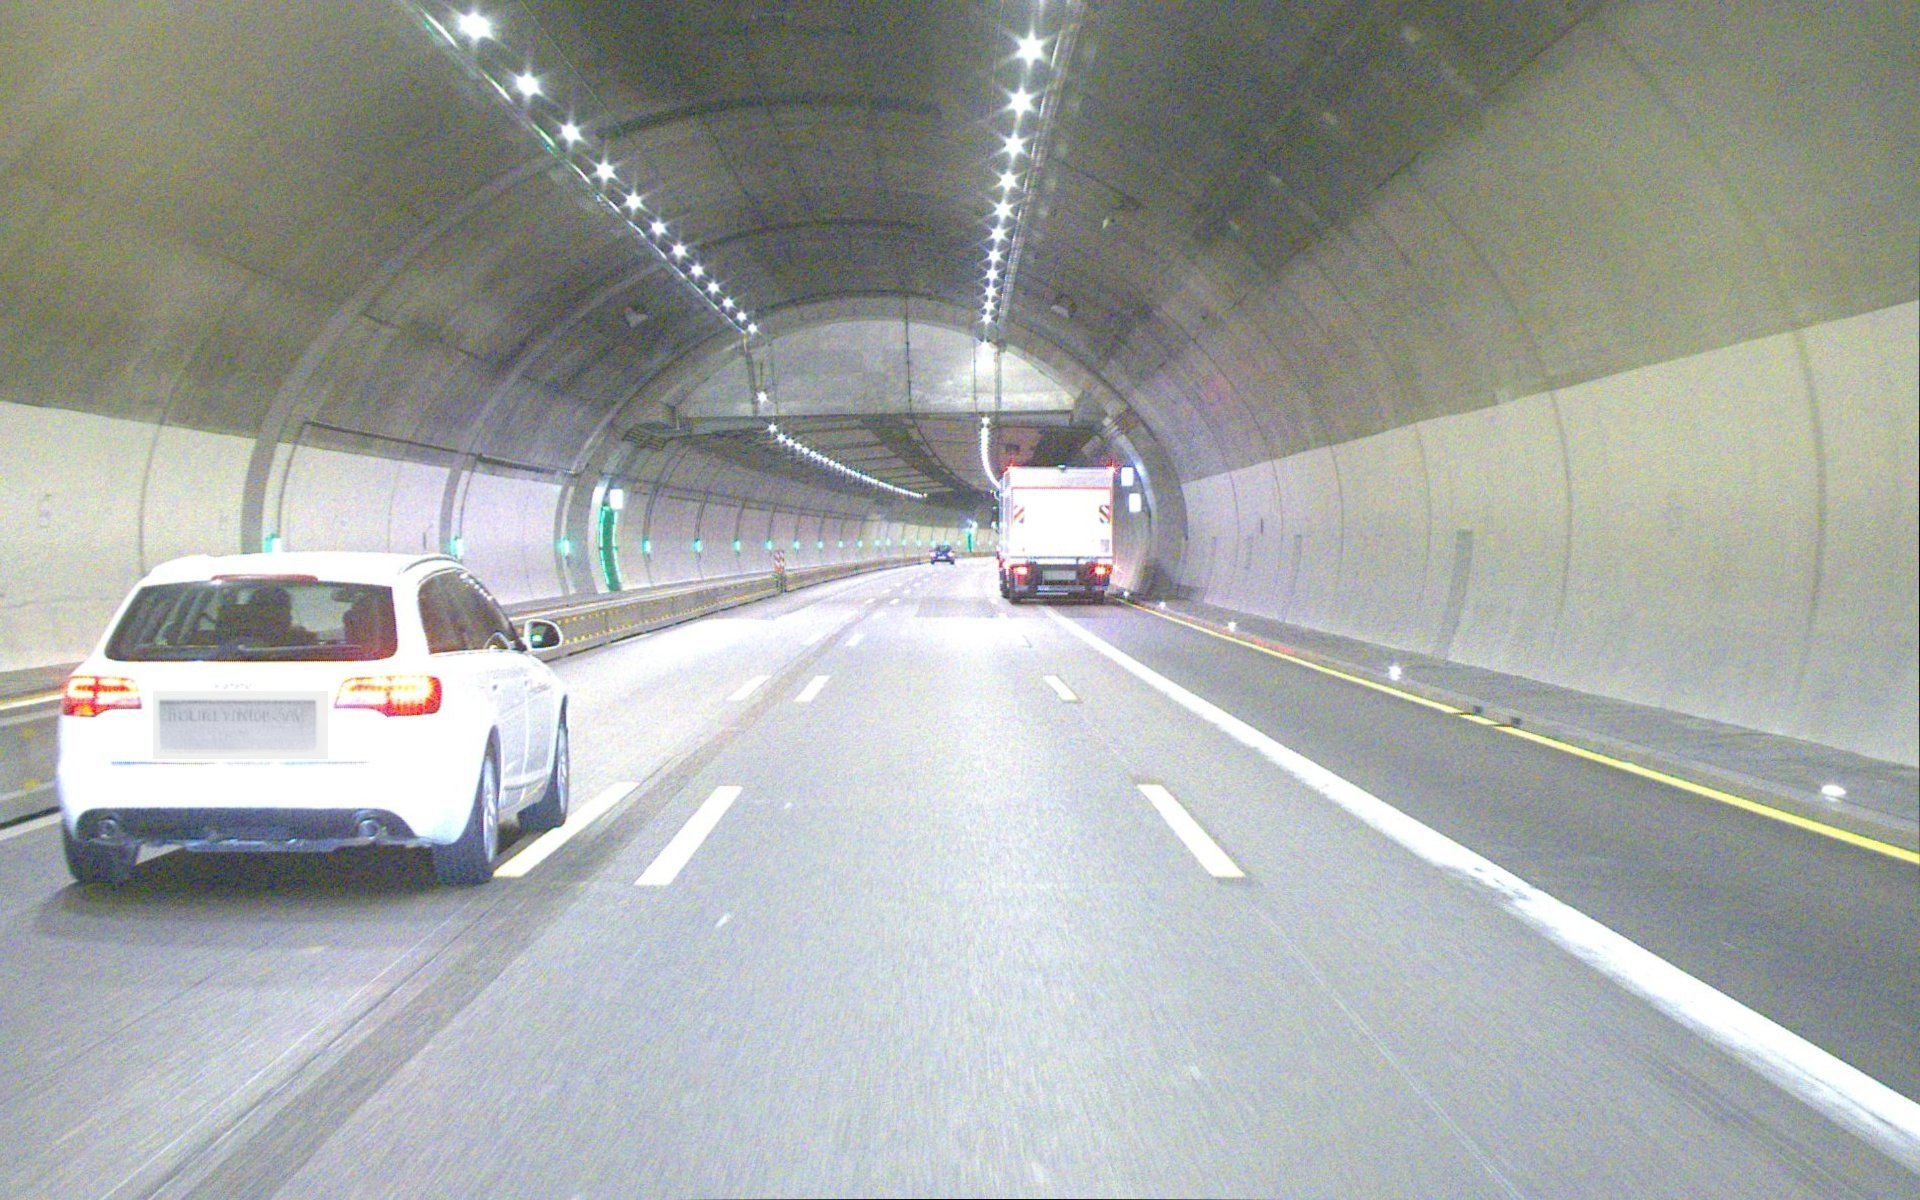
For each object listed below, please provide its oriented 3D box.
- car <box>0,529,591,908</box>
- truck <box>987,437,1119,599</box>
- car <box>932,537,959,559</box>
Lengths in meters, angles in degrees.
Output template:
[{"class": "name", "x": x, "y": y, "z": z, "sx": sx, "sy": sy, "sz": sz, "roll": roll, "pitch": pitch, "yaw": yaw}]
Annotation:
[{"class": "car", "x": -2.920, "y": 0.442, "z": 16.140, "sx": 1.903, "sy": 1.479, "sz": 4.944, "roll": 1, "pitch": 1, "yaw": -1}, {"class": "truck", "x": 2.308, "y": -2.022, "z": 88.740, "sx": 3.092, "sy": 3.904, "sz": 10.368, "roll": -1, "pitch": 0, "yaw": 0}, {"class": "car", "x": -1.000, "y": -3.631, "z": 239.059, "sx": 1.758, "sy": 1.456, "sz": 4.119, "roll": -1, "pitch": 2, "yaw": 0}]
